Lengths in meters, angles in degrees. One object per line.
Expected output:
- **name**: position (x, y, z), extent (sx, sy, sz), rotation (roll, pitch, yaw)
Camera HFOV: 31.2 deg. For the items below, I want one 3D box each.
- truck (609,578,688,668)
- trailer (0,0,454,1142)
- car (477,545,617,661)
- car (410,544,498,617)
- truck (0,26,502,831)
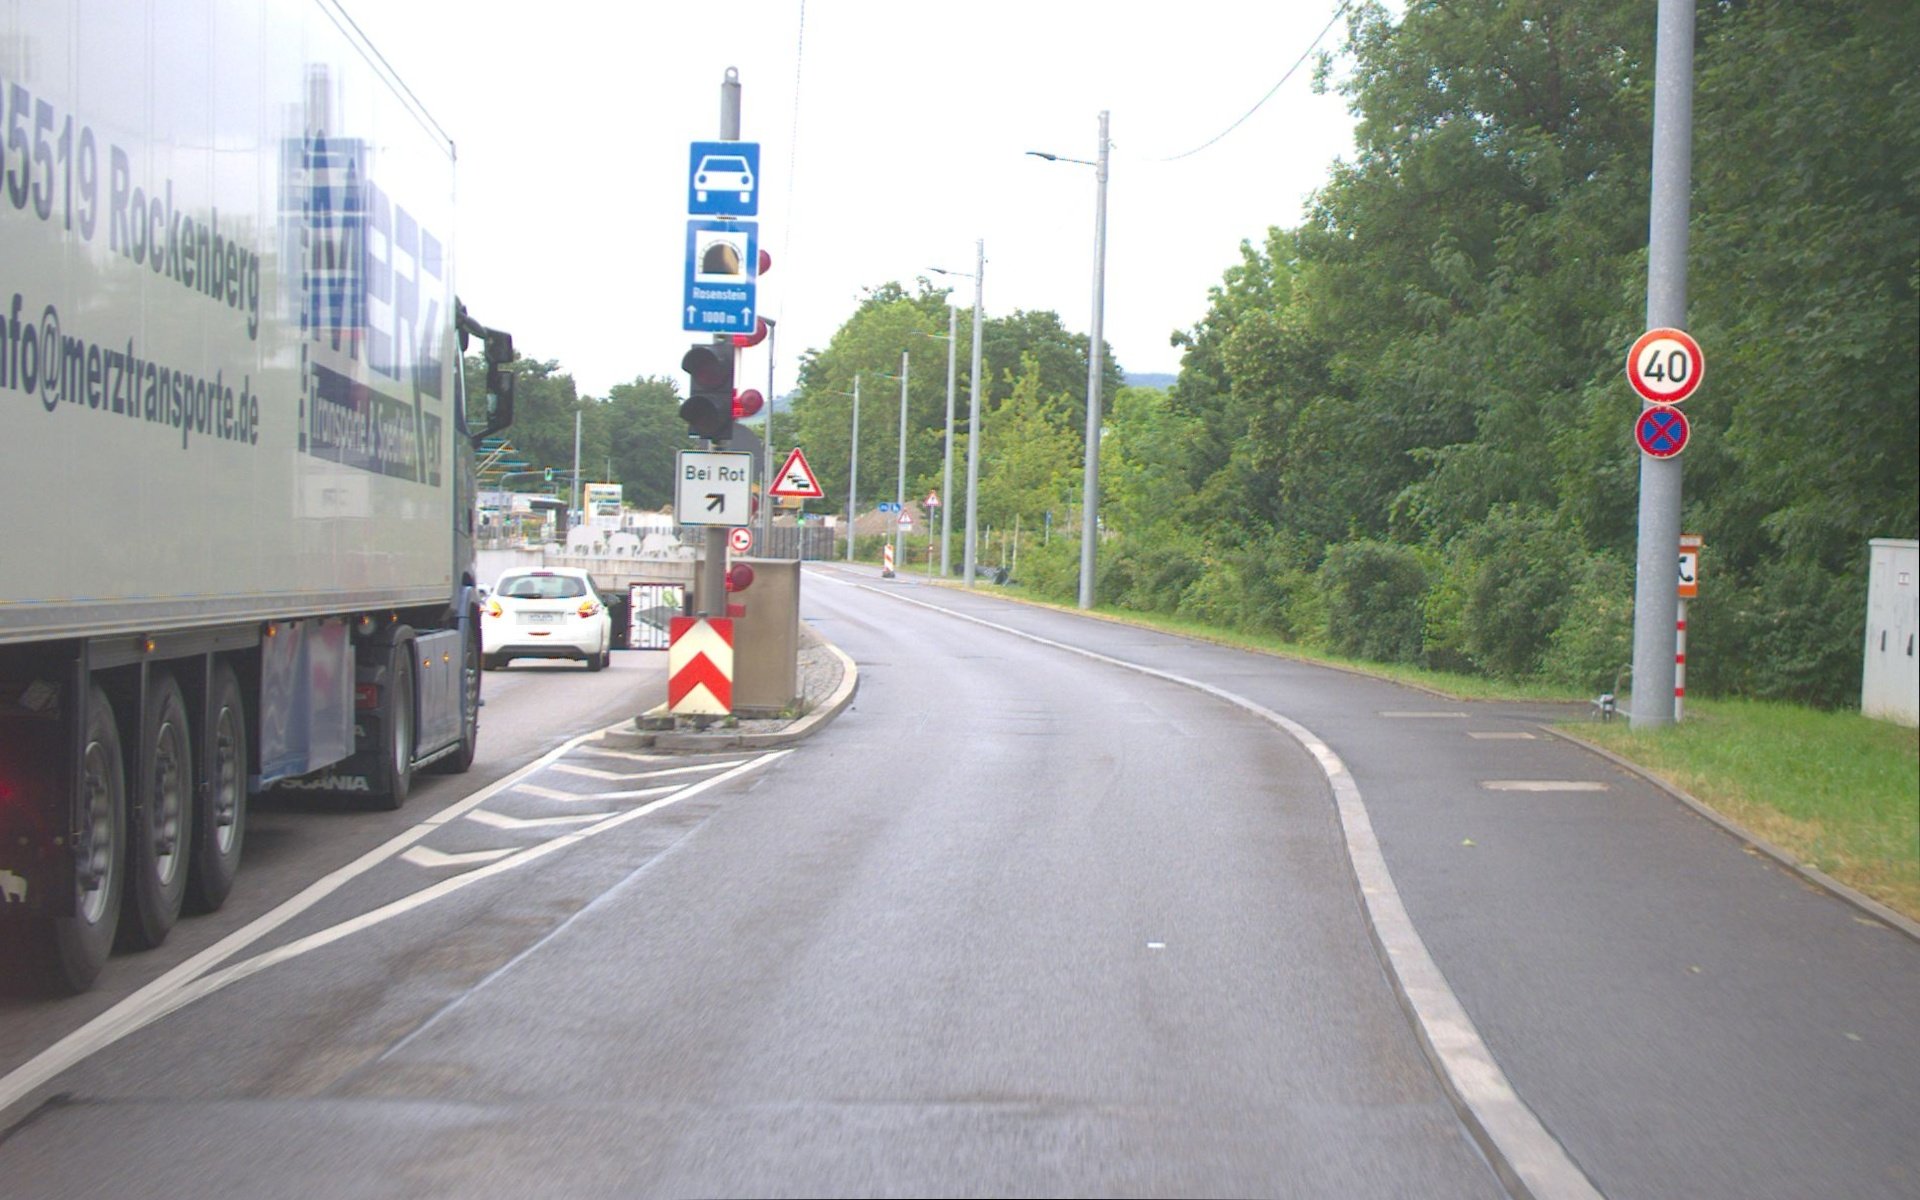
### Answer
- **truck**: position (-14.652, 1.032, 162.170), extent (3.518, 4.026, 8.076), rotation (1, 1, -4)
- **trailer**: position (-4.170, -0.810, 14.318), extent (2.762, 4.238, 13.185), rotation (0, 1, -3)
- **car**: position (-5.879, 0.013, 49.244), extent (1.809, 1.419, 4.001), rotation (1, 3, -5)
- **car**: position (-11.464, -0.465, 78.059), extent (1.681, 1.441, 4.001), rotation (1, 3, -5)
- **truck**: position (-4.469, -0.968, 21.089), extent (2.755, 4.190, 6.307), rotation (0, 1, -3)
